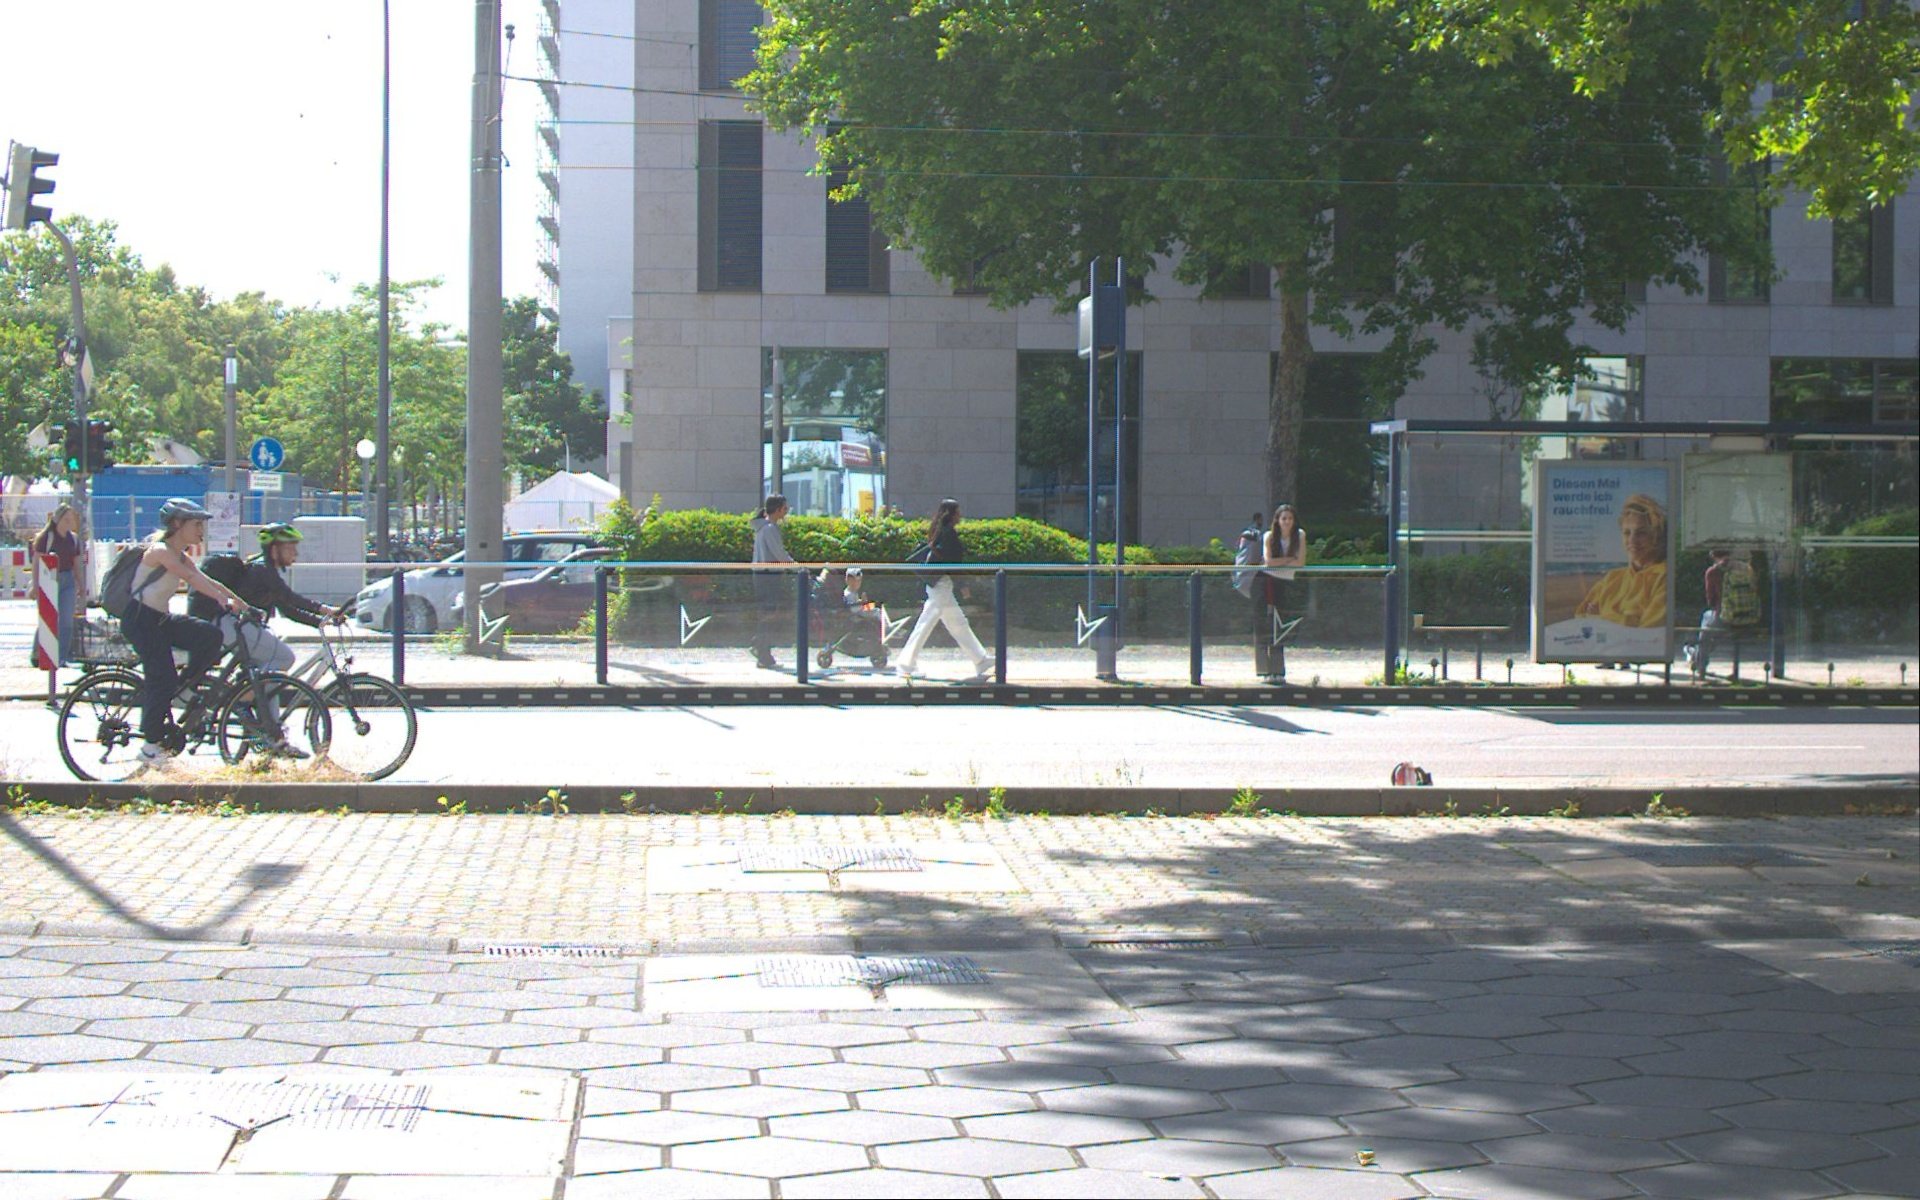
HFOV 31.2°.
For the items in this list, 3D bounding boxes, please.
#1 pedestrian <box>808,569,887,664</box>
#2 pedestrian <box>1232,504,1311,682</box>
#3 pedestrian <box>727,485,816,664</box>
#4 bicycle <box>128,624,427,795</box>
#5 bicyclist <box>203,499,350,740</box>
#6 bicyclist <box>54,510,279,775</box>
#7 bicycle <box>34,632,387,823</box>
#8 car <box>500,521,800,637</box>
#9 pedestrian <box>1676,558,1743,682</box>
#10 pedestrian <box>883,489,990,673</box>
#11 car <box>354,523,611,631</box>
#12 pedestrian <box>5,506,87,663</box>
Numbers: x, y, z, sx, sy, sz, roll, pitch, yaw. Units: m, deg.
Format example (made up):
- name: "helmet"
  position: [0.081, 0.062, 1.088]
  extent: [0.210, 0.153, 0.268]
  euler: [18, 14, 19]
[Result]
- name: "pedestrian"
  position: [-1.060, 0.153, 32.492]
  extent: [0.690, 0.877, 0.503]
  euler: [1, 1, 4]
- name: "pedestrian"
  position: [2.841, -0.071, 31.434]
  extent: [0.584, 1.586, 0.670]
  euler: [0, 3, -5]
- name: "pedestrian"
  position: [-1.782, -0.244, 32.540]
  extent: [0.777, 1.677, 0.503]
  euler: [1, 1, 4]
- name: "bicycle"
  position: [-4.430, 0.710, 22.386]
  extent: [1.861, 1.078, 0.525]
  euler: [0, 1, -6]
- name: "bicyclist"
  position: [-4.442, 0.124, 22.364]
  extent: [0.862, 1.538, 0.535]
  euler: [1, 1, -4]
- name: "bicyclist"
  position: [-4.835, 0.244, 20.968]
  extent: [1.170, 1.575, 0.639]
  euler: [1, 1, 14]
- name: "bicycle"
  position: [-4.558, 0.761, 20.924]
  extent: [2.021, 1.078, 0.639]
  euler: [1, 1, 14]
- name: "car"
  position: [-4.318, -0.303, 47.640]
  extent: [3.986, 1.546, 1.704]
  euler: [0, 1, -10]
- name: "pedestrian"
  position: [6.968, 0.180, 31.968]
  extent: [0.499, 1.134, 0.524]
  euler: [1, 1, 2]
- name: "pedestrian"
  position: [-0.210, -0.181, 31.697]
  extent: [0.932, 1.677, 0.503]
  euler: [1, 1, 4]
- name: "car"
  position: [-7.032, -0.345, 50.530]
  extent: [3.681, 1.546, 1.592]
  euler: [0, 1, -10]
- name: "pedestrian"
  position: [-9.045, -0.162, 34.033]
  extent: [0.650, 1.535, 0.503]
  euler: [1, 1, 4]
